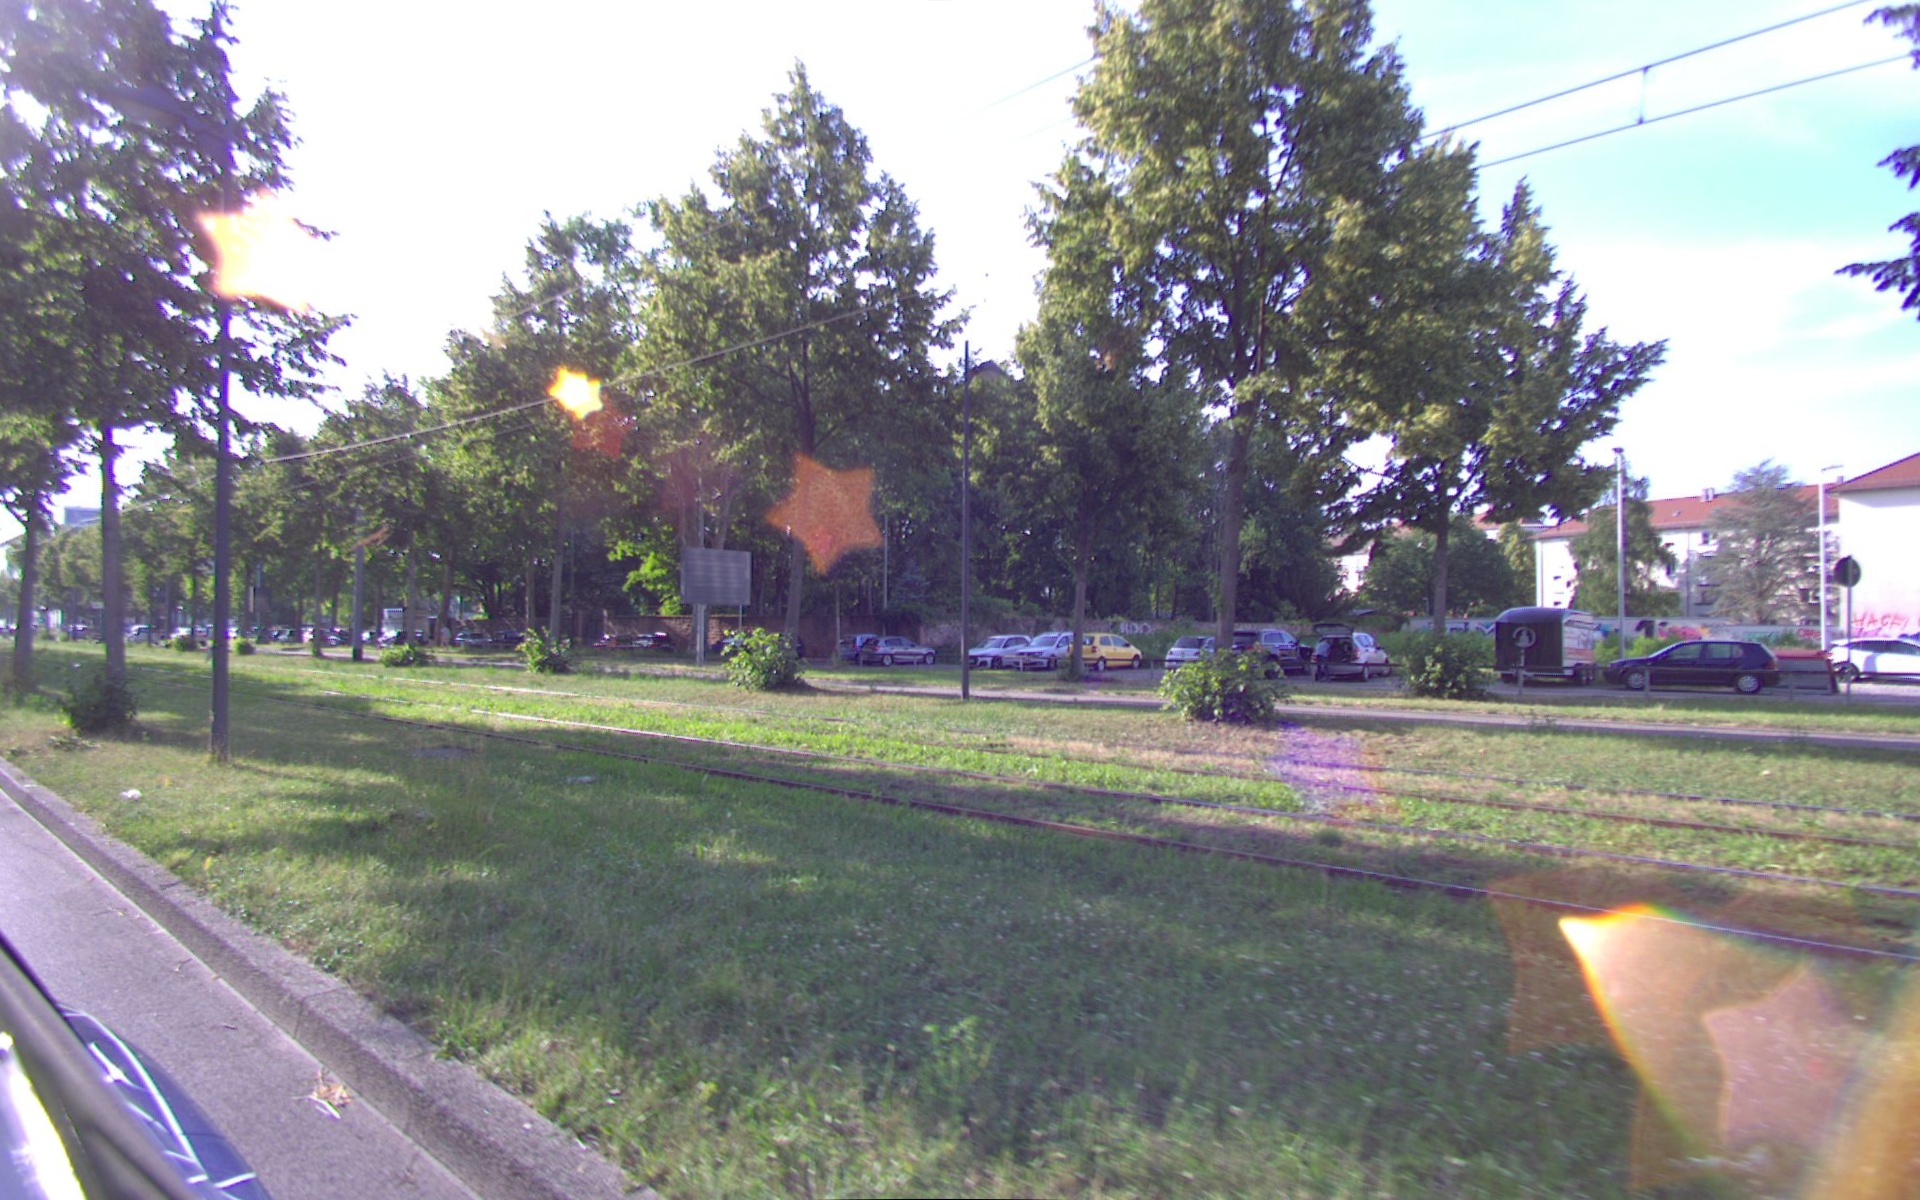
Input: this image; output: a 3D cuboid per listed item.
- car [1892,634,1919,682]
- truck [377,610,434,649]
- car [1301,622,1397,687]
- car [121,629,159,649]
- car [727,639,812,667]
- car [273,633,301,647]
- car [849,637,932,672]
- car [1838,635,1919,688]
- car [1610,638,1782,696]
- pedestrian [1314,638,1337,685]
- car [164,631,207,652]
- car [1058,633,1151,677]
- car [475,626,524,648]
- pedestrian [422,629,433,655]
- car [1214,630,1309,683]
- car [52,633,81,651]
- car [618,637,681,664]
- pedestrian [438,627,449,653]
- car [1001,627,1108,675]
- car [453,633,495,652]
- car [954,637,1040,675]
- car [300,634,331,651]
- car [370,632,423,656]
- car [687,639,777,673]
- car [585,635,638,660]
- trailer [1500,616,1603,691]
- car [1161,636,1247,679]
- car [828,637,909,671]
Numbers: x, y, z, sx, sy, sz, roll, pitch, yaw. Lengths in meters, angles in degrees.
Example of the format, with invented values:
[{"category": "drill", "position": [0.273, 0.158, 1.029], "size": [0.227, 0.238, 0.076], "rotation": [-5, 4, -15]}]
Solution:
[{"category": "car", "position": [34.159, 1.996, 33.964], "size": [1.662, 1.569, 4.009], "rotation": [-1, 0, -37]}, {"category": "truck", "position": [-54.500, 2.837, 99.298], "size": [2.855, 3.542, 7.949], "rotation": [-1, 0, -44]}, {"category": "car", "position": [13.176, 1.773, 34.168], "size": [1.757, 1.962, 3.950], "rotation": [-1, 0, 41]}, {"category": "car", "position": [-61.001, 2.869, 75.256], "size": [3.694, 1.403, 1.566], "rotation": [-1, 0, 41]}, {"category": "car", "position": [-10.456, 2.896, 55.658], "size": [4.331, 1.453, 1.779], "rotation": [-1, 0, 22]}, {"category": "car", "position": [-61.315, 3.633, 92.204], "size": [3.773, 1.116, 1.284], "rotation": [-1, 0, 44]}, {"category": "car", "position": [-3.399, 2.637, 49.848], "size": [3.811, 1.497, 1.746], "rotation": [-1, 0, -42]}, {"category": "car", "position": [31.218, 1.988, 32.702], "size": [1.824, 1.608, 4.008], "rotation": [-1, 0, -38]}, {"category": "car", "position": [20.317, 1.814, 28.051], "size": [3.756, 1.404, 1.663], "rotation": [-1, 0, 38]}, {"category": "pedestrian", "position": [11.925, 1.989, 33.031], "size": [0.568, 1.491, 0.516], "rotation": [-1, 0, 40]}, {"category": "car", "position": [-60.212, 3.234, 78.673], "size": [4.811, 1.487, 1.664], "rotation": [-1, -4, 41]}, {"category": "car", "position": [5.962, 2.194, 41.548], "size": [1.856, 1.572, 3.943], "rotation": [-1, 0, 43]}, {"category": "car", "position": [-35.665, 2.837, 78.286], "size": [4.473, 1.624, 1.811], "rotation": [-1, 0, 42]}, {"category": "pedestrian", "position": [-30.482, 2.385, 57.937], "size": [0.601, 1.487, 0.382], "rotation": [-1, 0, 40]}, {"category": "car", "position": [10.756, 1.950, 36.009], "size": [1.757, 1.655, 3.950], "rotation": [-1, 0, 41]}, {"category": "car", "position": [-85.455, 3.995, 96.752], "size": [4.130, 1.544, 1.594], "rotation": [-1, 0, 41]}, {"category": "car", "position": [-19.132, 3.081, 62.226], "size": [4.361, 1.453, 1.767], "rotation": [-1, 0, 43]}, {"category": "pedestrian", "position": [-29.896, 2.291, 58.598], "size": [0.601, 1.487, 0.382], "rotation": [-1, 0, 40]}, {"category": "car", "position": [4.098, 2.116, 43.079], "size": [1.886, 1.748, 5.004], "rotation": [-1, 0, 43]}, {"category": "car", "position": [-39.601, 3.460, 82.384], "size": [4.387, 1.386, 1.678], "rotation": [-1, 0, 45]}, {"category": "car", "position": [1.639, 2.392, 44.198], "size": [1.810, 1.439, 3.607], "rotation": [-1, 0, 43]}, {"category": "car", "position": [-53.850, 3.493, 84.525], "size": [1.564, 1.286, 3.964], "rotation": [-1, 0, -43]}, {"category": "car", "position": [-38.374, 2.971, 68.826], "size": [4.473, 1.442, 1.811], "rotation": [-1, 0, 42]}, {"category": "car", "position": [-10.888, 2.641, 48.254], "size": [4.013, 1.446, 1.673], "rotation": [-1, 0, 26]}, {"category": "car", "position": [-22.860, 3.087, 66.330], "size": [3.912, 1.453, 1.699], "rotation": [-1, 0, 43]}, {"category": "trailer", "position": [18.143, 1.559, 30.973], "size": [1.758, 2.069, 4.315], "rotation": [-1, 0, 44]}, {"category": "car", "position": [9.318, 2.144, 38.468], "size": [1.725, 1.436, 3.530], "rotation": [-1, 0, 41]}, {"category": "car", "position": [-4.647, 2.739, 51.774], "size": [3.811, 1.497, 1.746], "rotation": [-1, 0, -42]}]
